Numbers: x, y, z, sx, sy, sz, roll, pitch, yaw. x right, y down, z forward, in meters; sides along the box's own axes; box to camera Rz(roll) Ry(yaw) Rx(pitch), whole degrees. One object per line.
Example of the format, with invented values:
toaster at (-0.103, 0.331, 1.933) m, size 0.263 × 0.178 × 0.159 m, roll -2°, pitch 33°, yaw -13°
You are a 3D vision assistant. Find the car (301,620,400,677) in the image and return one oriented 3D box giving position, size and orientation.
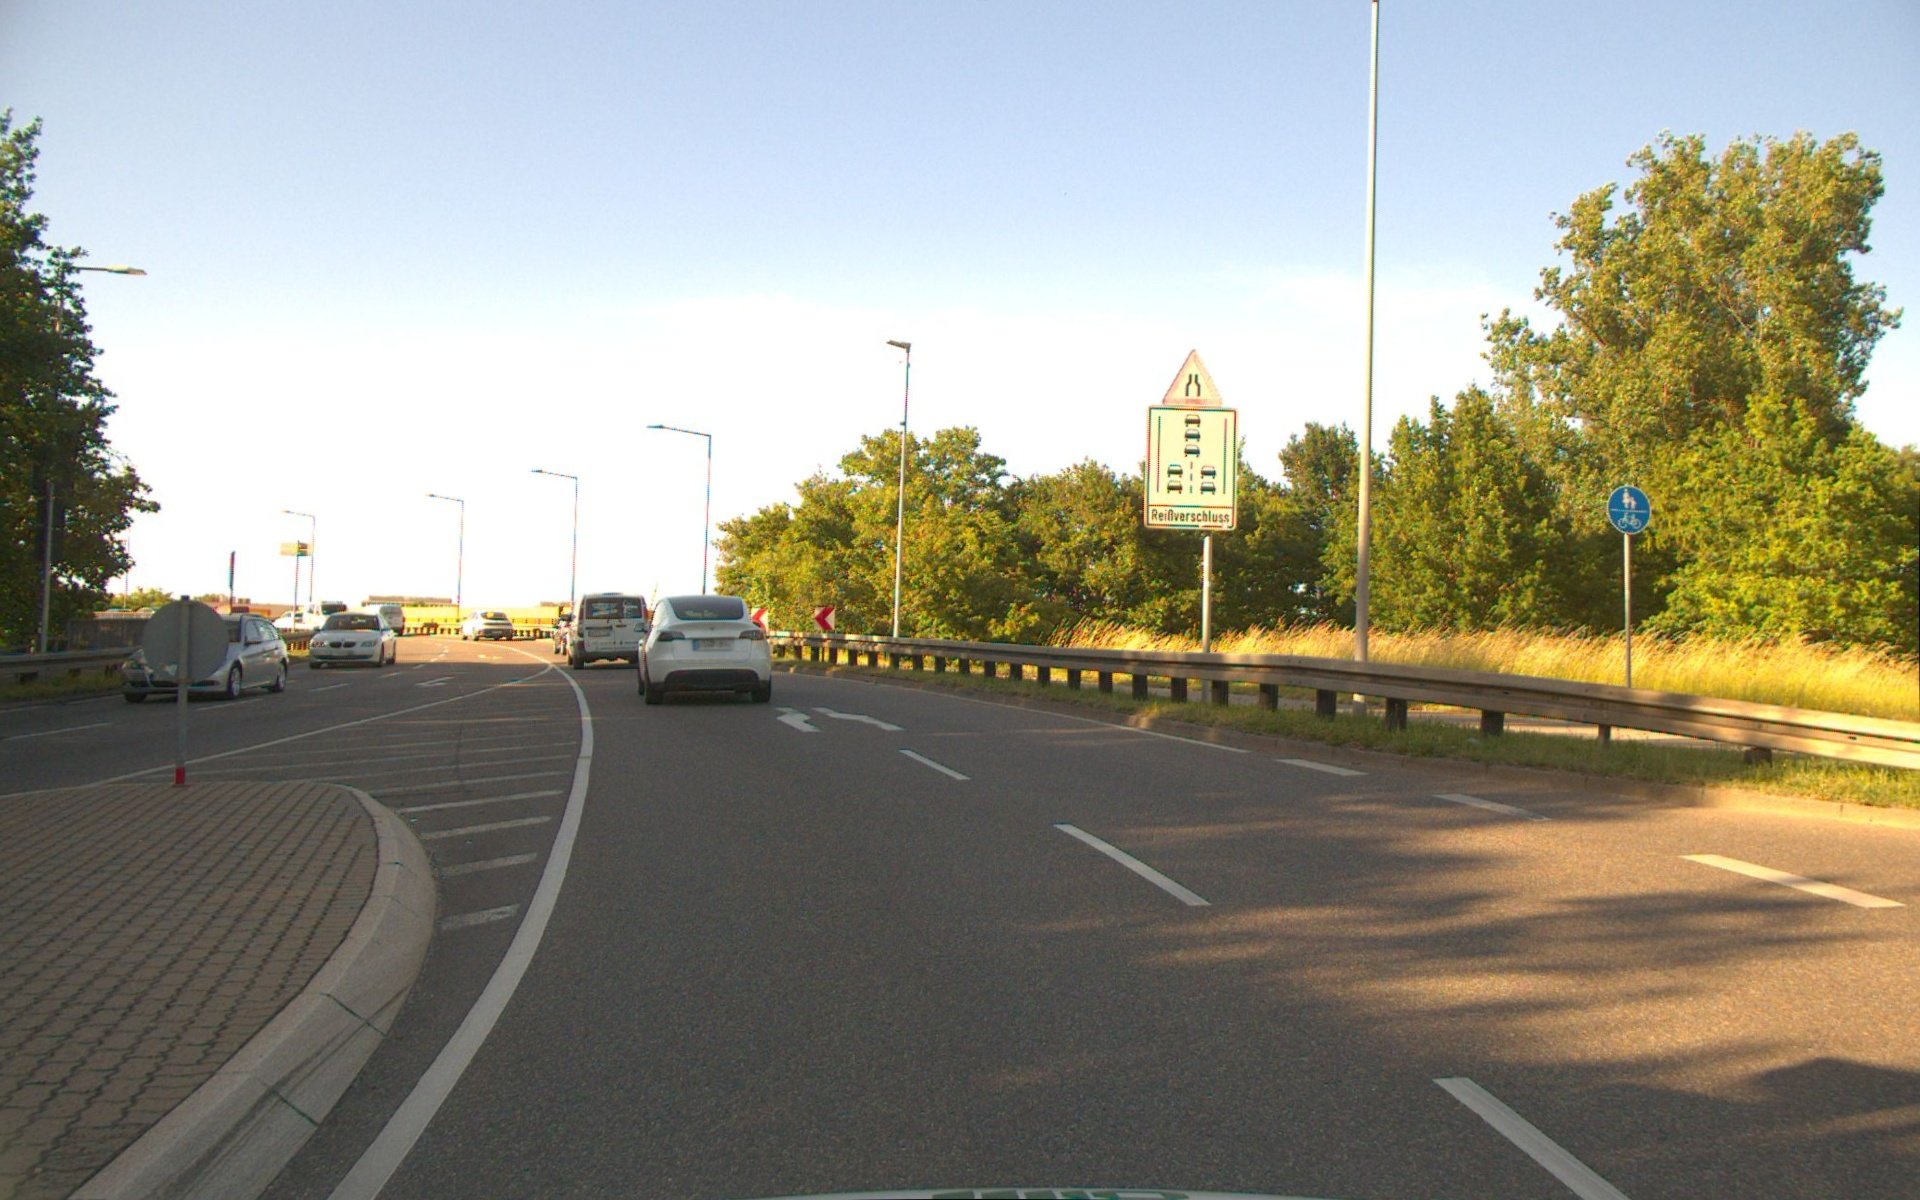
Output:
car at (-16.345, 1.277, 44.524) m, size 2.061 × 1.415 × 4.393 m, roll 1°, pitch -1°, yaw -15°

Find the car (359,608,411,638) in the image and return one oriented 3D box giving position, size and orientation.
car at (-34.923, 1.374, 100.454) m, size 1.953 × 1.728 × 3.950 m, roll 1°, pitch -1°, yaw -35°

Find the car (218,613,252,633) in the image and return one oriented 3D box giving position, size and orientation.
car at (-53.863, 1.702, 122.898) m, size 1.396 × 1.477 × 3.302 m, roll 1°, pitch -1°, yaw -40°

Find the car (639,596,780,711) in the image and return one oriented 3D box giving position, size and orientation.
car at (-4.054, 0.824, 26.260) m, size 1.959 × 1.669 × 4.115 m, roll 1°, pitch -1°, yaw -12°

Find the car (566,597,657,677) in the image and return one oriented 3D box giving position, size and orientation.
car at (-8.977, 0.937, 42.366) m, size 1.961 × 1.912 × 4.229 m, roll 1°, pitch -1°, yaw -16°

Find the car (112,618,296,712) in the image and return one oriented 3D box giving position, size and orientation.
car at (-13.061, 1.078, 28.824) m, size 1.834 × 1.500 × 3.902 m, roll 1°, pitch -1°, yaw -8°

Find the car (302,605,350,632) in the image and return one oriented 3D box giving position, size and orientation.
car at (-36.384, 1.048, 94.912) m, size 1.602 × 1.536 × 3.508 m, roll 1°, pitch -1°, yaw -39°

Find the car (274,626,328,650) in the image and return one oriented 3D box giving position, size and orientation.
car at (-45.007, 2.571, 112.961) m, size 2.253 × 1.534 × 3.940 m, roll 3°, pitch -2°, yaw -41°

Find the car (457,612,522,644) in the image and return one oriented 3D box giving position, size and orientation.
car at (-23.296, 1.370, 81.759) m, size 1.951 × 1.500 × 4.106 m, roll 1°, pitch -1°, yaw -34°
